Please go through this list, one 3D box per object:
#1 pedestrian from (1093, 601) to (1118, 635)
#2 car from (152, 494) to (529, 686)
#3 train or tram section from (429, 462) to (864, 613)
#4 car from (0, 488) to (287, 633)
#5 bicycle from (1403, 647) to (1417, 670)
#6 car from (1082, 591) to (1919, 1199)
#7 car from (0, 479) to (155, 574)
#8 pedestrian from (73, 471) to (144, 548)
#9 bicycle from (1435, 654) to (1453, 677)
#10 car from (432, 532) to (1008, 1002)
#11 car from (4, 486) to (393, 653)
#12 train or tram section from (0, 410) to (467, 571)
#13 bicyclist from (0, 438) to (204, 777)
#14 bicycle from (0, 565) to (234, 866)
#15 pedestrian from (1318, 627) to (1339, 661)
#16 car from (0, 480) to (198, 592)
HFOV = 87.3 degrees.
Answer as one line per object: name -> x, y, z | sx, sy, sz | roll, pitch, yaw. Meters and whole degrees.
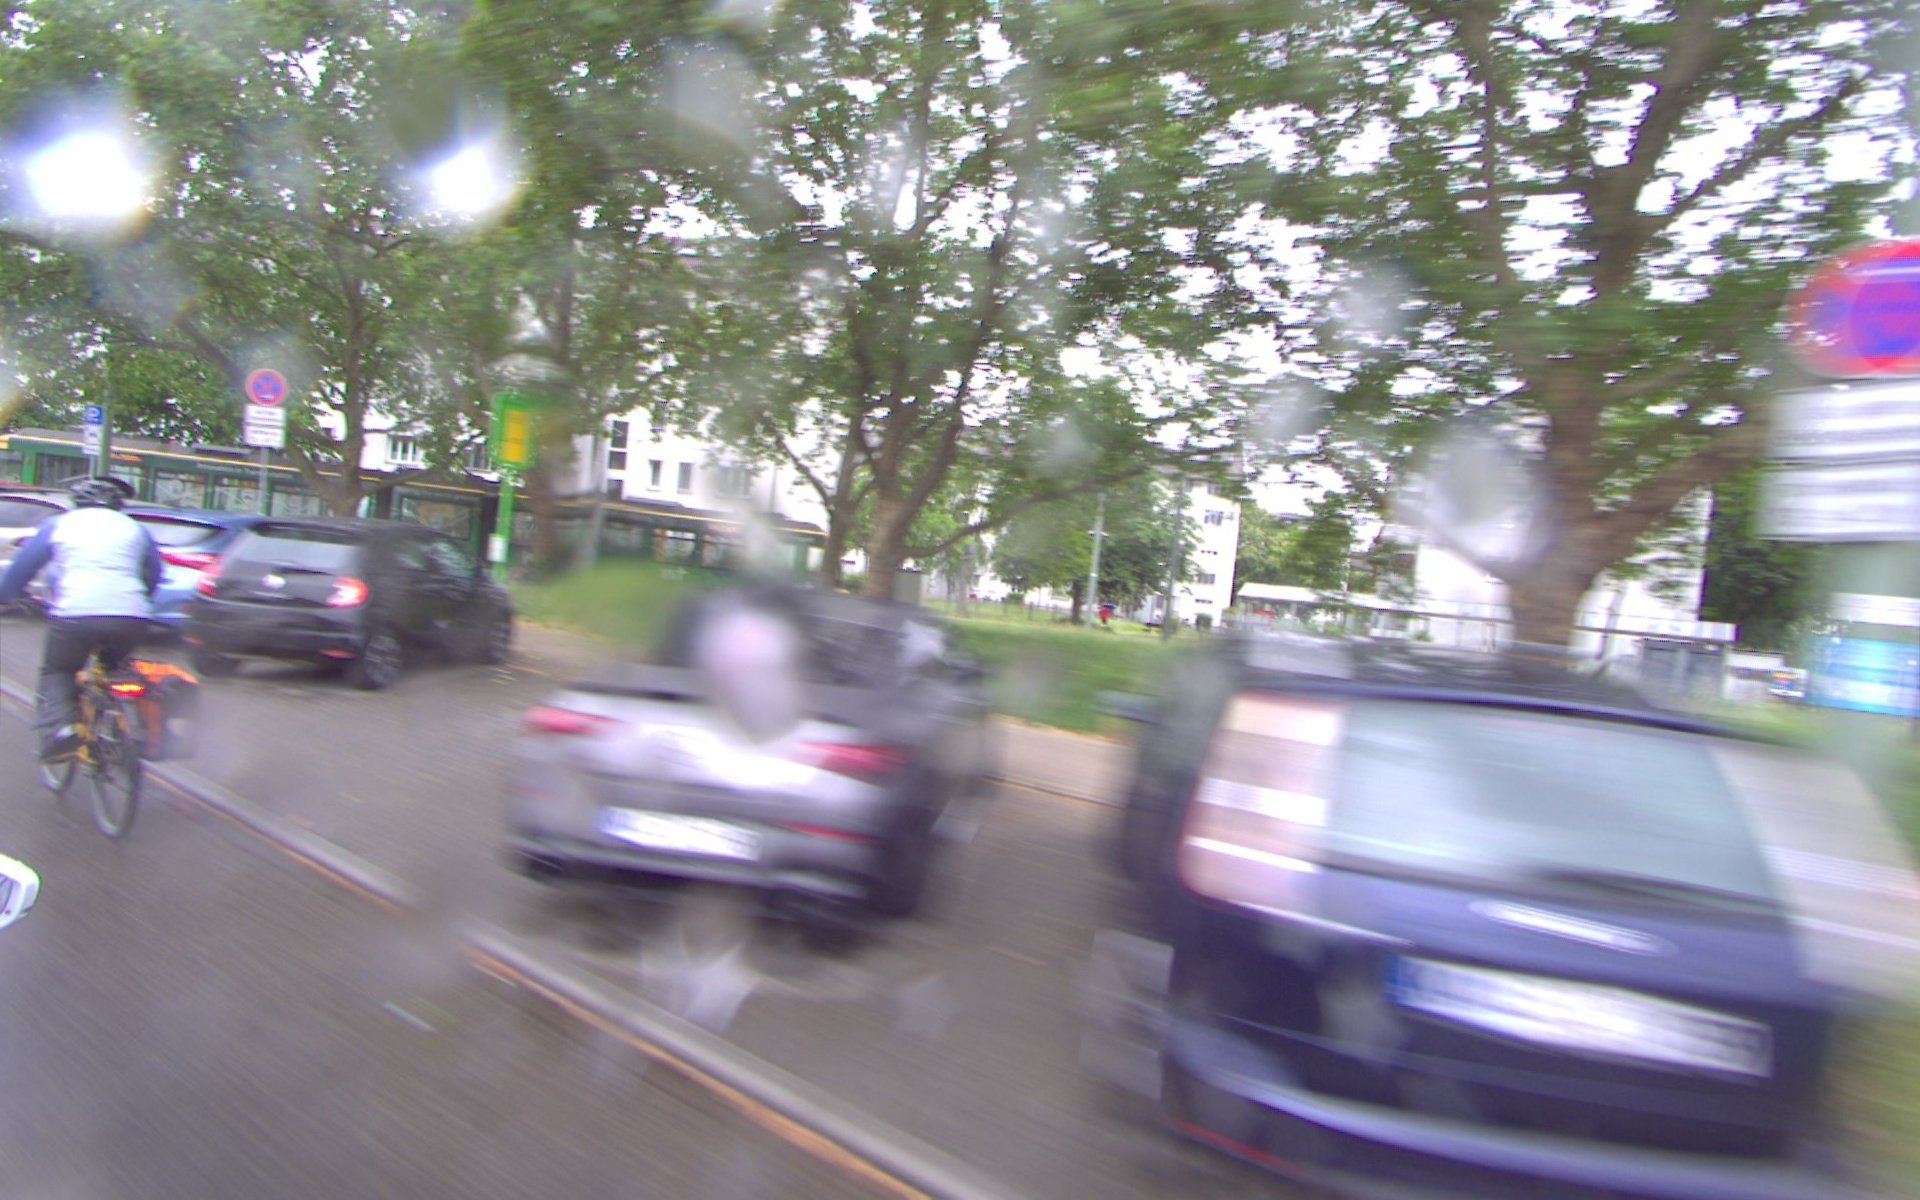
pedestrian -> 8.447, 1.037, 58.434 | 1.167, 1.907, 1.053 | 4, 0, -2
car -> -6.111, -0.144, 10.448 | 1.721, 1.526, 3.512 | 4, 2, -1
train or tram section -> -10.951, -2.108, 36.636 | 14.482, 3.634, 2.711 | 6, 0, -9
car -> -11.144, -0.540, 13.132 | 1.924, 1.574, 3.997 | 4, 2, 1
bicycle -> 20.164, 2.616, 45.105 | 0.410, 0.959, 1.307 | 5, 0, 20
car -> 1.536, 0.826, 4.067 | 1.770, 1.495, 4.176 | 6, 1, 5
car -> -16.260, -1.286, 17.283 | 1.606, 1.500, 3.596 | 6, 2, 9
pedestrian -> -21.060, -2.239, 24.889 | 1.063, 1.737, 1.044 | 7, 3, 35
bicycle -> 21.244, 2.884, 44.177 | 0.372, 0.959, 1.232 | 5, 0, 39
car -> -0.797, 0.598, 5.927 | 1.770, 1.495, 4.549 | 7, 1, 6
car -> -8.641, -0.420, 11.931 | 1.791, 1.522, 3.991 | 4, 4, -5
train or tram section -> -25.190, -3.651, 34.482 | 14.482, 3.634, 2.711 | 6, 0, -9
bicyclist -> -4.387, 0.016, 4.962 | 0.833, 1.505, 0.750 | 8, 3, 36
bicycle -> -4.434, 0.466, 4.979 | 1.897, 1.087, 0.752 | 8, 3, 36
pedestrian -> 17.497, 2.089, 47.762 | 0.626, 1.592, 0.787 | 5, 1, 35
car -> -13.969, -0.986, 15.014 | 1.831, 1.500, 4.119 | 6, 2, 3
